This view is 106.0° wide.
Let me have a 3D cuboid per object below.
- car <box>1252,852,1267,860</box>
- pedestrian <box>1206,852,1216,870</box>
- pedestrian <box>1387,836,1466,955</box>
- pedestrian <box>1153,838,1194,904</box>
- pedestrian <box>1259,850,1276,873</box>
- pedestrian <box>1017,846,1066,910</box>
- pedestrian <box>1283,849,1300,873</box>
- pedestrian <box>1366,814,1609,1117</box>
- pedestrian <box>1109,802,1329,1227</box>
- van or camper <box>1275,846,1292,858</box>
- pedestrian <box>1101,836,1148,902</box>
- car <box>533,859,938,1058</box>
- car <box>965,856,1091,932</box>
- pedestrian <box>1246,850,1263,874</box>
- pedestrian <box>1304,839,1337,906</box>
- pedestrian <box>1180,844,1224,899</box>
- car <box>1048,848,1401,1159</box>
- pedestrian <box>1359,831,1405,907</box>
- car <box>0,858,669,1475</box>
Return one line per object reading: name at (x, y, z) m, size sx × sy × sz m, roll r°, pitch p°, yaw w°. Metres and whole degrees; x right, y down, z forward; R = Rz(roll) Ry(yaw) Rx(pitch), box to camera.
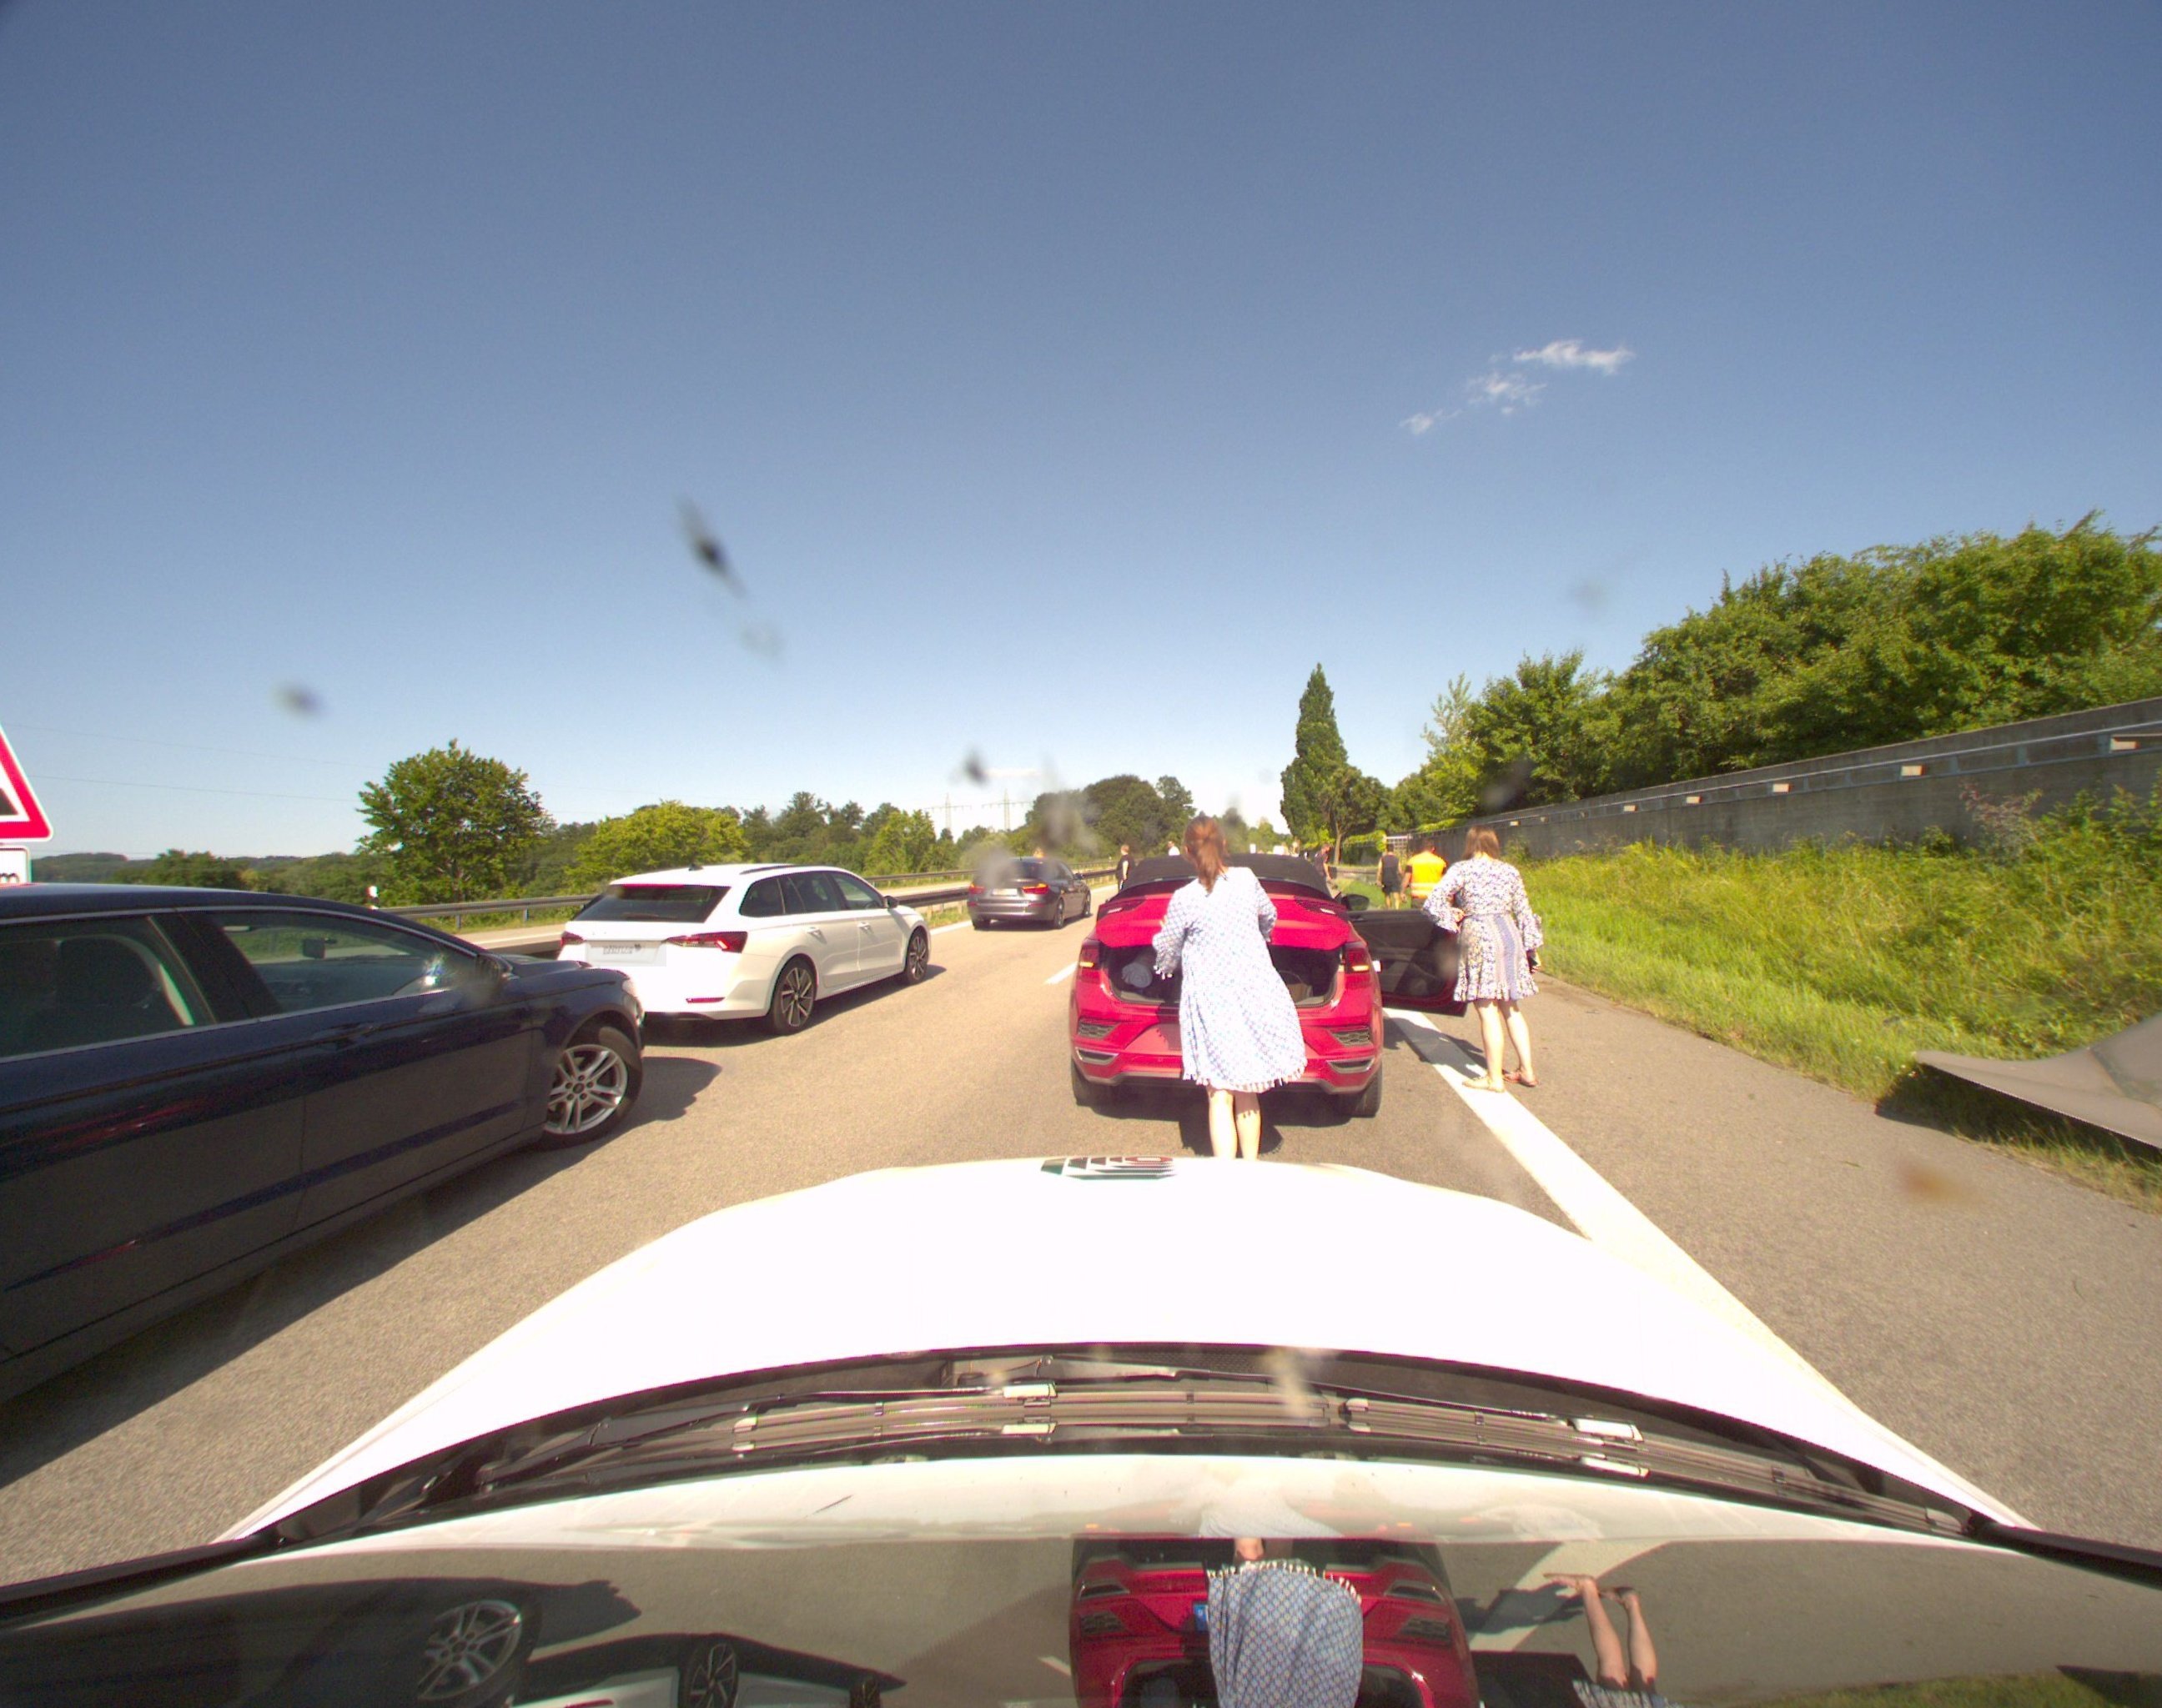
car at (34.333, 0.435, 156.738) m, size 1.716 × 1.487 × 4.235 m, roll 0°, pitch 0°, yaw 27°
pedestrian at (11.735, 0.632, 73.553) m, size 0.785 × 1.689 × 0.795 m, roll 0°, pitch -1°, yaw 16°
pedestrian at (5.099, 0.585, 12.113) m, size 0.950 × 1.654 × 1.284 m, roll -2°, pitch 0°, yaw 19°
pedestrian at (2.810, 0.508, 24.874) m, size 1.101 × 1.912 × 1.258 m, roll -2°, pitch 0°, yaw 3°
pedestrian at (13.405, 0.544, 58.496) m, size 1.047 × 1.689 × 1.022 m, roll 0°, pitch -1°, yaw 17°
pedestrian at (-1.109, 0.665, 23.058) m, size 1.033 × 1.763 × 1.122 m, roll -2°, pitch 0°, yaw 14°
pedestrian at (15.128, 0.489, 58.439) m, size 0.987 × 1.689 × 1.016 m, roll 0°, pitch -1°, yaw 28°
pedestrian at (2.544, 0.634, 5.246) m, size 0.889 × 1.695 × 1.126 m, roll -2°, pitch 0°, yaw -7°
pedestrian at (0.621, 0.647, 3.672) m, size 0.834 × 1.683 × 0.746 m, roll -2°, pitch 0°, yaw 11°
van or camper at (38.346, -0.317, 154.279) m, size 1.975 × 2.316 × 4.497 m, roll 0°, pitch 0°, yaw 28°
pedestrian at (1.282, 0.426, 23.847) m, size 1.056 × 1.883 × 1.098 m, roll -2°, pitch 0°, yaw 19°
car at (-3.022, 0.790, 8.249) m, size 1.684 × 1.441 × 4.223 m, roll 0°, pitch 0°, yaw 11°
car at (-1.016, 0.779, 17.868) m, size 1.684 × 1.426 × 4.347 m, roll 0°, pitch 0°, yaw 11°
pedestrian at (12.304, 0.543, 57.751) m, size 1.104 × 1.689 × 0.978 m, roll 0°, pitch -1°, yaw 18°
pedestrian at (6.448, 0.484, 21.907) m, size 0.805 × 1.759 × 0.832 m, roll 0°, pitch -1°, yaw 19°
pedestrian at (4.030, 0.575, 27.265) m, size 1.091 × 1.789 × 1.101 m, roll 0°, pitch -1°, yaw -18°
car at (1.084, 0.714, 6.126) m, size 1.721 × 1.487 × 4.223 m, roll 0°, pitch 0°, yaw 11°
pedestrian at (6.940, 0.341, 18.832) m, size 0.889 × 1.725 × 0.757 m, roll 0°, pitch -1°, yaw 11°
car at (-3.505, 0.789, 2.741) m, size 1.781 × 1.493 × 4.495 m, roll -2°, pitch 0°, yaw 2°
